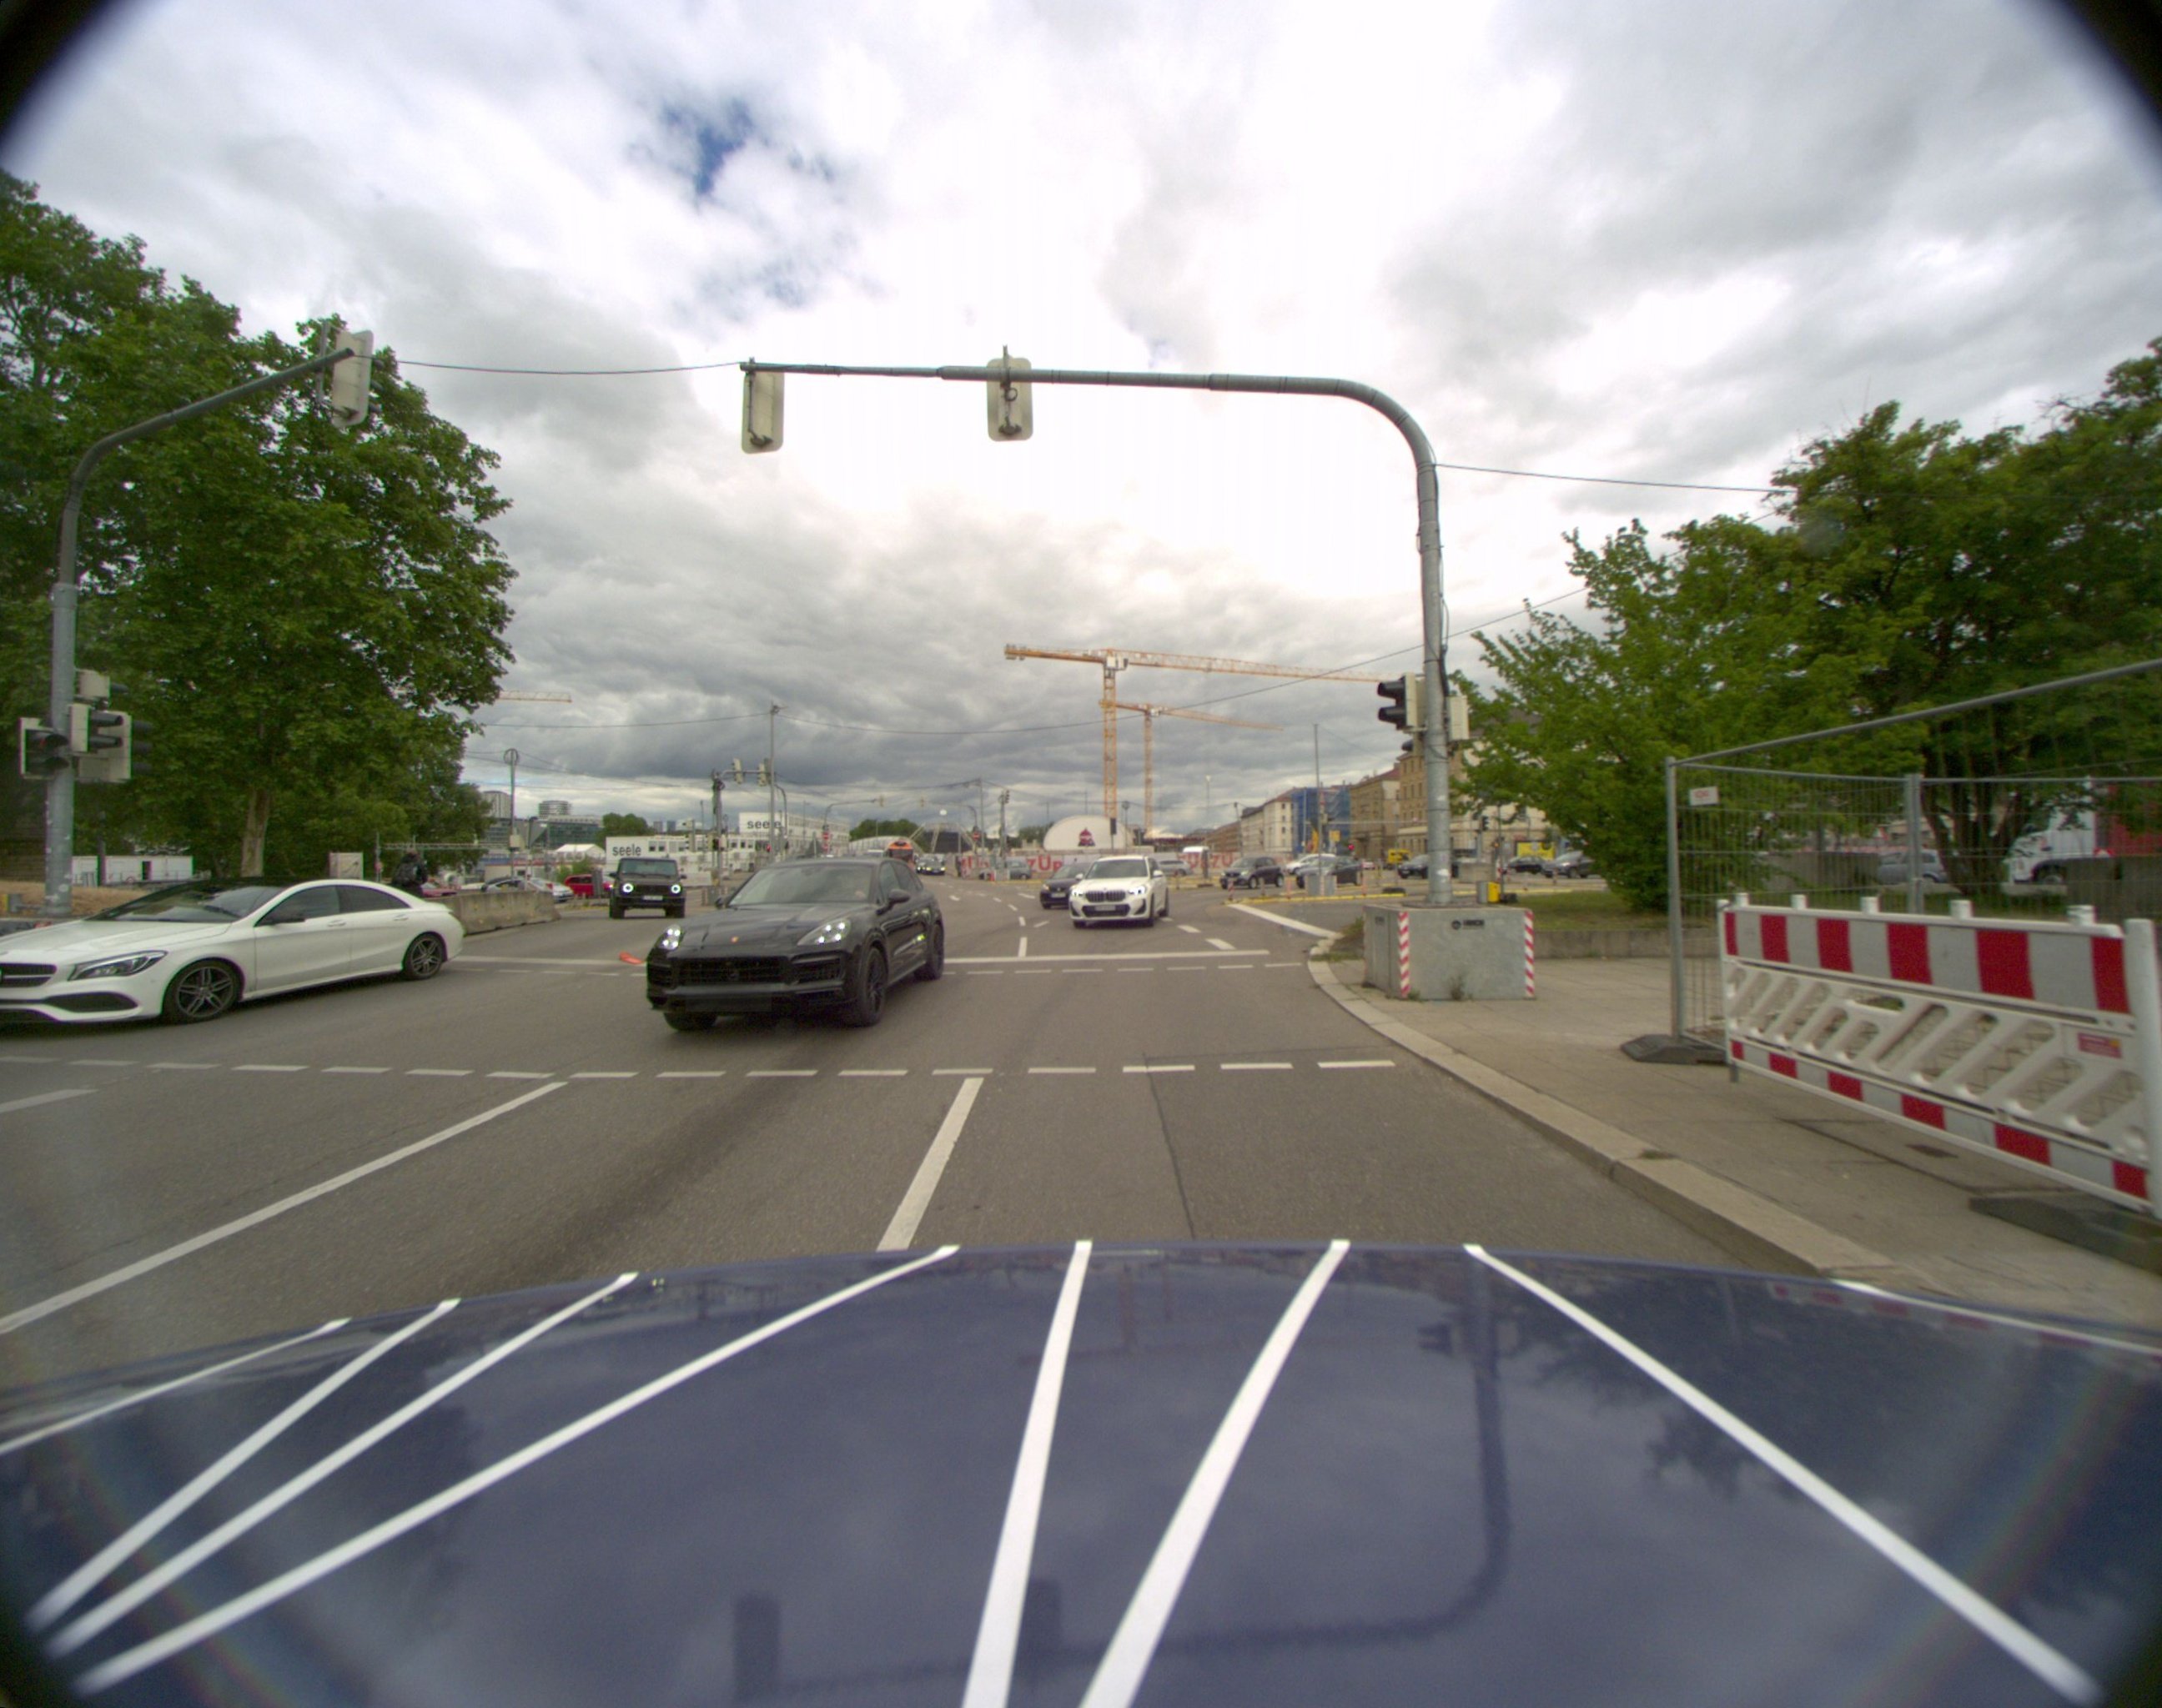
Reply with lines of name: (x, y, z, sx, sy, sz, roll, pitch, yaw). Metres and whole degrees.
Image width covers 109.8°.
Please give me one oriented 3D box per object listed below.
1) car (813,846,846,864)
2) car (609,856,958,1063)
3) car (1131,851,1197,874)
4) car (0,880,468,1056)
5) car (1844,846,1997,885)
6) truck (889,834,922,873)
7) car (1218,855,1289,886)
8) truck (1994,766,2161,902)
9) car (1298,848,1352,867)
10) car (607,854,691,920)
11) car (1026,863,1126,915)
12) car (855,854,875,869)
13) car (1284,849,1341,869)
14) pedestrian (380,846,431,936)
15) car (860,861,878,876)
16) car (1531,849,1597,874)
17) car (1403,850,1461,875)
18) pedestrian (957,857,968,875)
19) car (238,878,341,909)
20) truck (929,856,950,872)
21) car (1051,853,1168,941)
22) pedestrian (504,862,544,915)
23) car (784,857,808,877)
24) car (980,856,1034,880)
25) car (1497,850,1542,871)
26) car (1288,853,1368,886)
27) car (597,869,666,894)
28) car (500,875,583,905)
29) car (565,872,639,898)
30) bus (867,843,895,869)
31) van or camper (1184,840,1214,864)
car: (-28.610, 0.111, 86.566, 1.997, 2.001, 4.168, 0, -1, 8)
car: (-2.864, 0.941, 8.637, 1.955, 1.637, 4.610, -3, -2, 2)
car: (6.252, 0.611, 57.443, 4.680, 1.569, 1.911, -1, 1, -2)
car: (-9.637, 1.062, 8.727, 1.739, 1.426, 4.381, 1, -1, -2)
car: (34.053, 0.473, 31.016, 1.769, 1.495, 4.133, -1, -1, 3)
truck: (-17.893, -0.070, 77.215, 2.912, 3.653, 9.014, 0, 0, -15)
car: (8.333, 0.755, 36.615, 3.578, 1.411, 1.573, 0, 1, -42)
truck: (33.365, -0.594, 18.546, 2.924, 4.059, 16.618, 1, 0, 3)
car: (18.537, 0.266, 57.867, 3.698, 1.381, 1.729, 1, 0, 8)
car: (-13.577, 1.075, 24.097, 1.941, 1.925, 3.668, 0, -4, -24)
car: (-0.037, 1.071, 24.984, 1.730, 1.461, 4.426, 1, 0, 22)
car: (-21.074, 0.704, 74.164, 1.788, 1.427, 4.063, -1, 0, -14)
car: (18.507, 0.401, 60.773, 4.068, 1.564, 1.693, 0, -1, 1)
pedestrian: (-15.597, 0.836, 17.558, 0.623, 2.002, 0.849, -2, 1, -27)
car: (-22.348, 1.518, 80.170, 1.653, 1.427, 3.614, -1, 0, -14)
car: (30.302, 0.454, 47.614, 4.111, 1.412, 1.872, -2, 0, -32)
car: (21.658, 0.511, 46.877, 4.113, 1.412, 1.872, -2, 0, -44)
pedestrian: (-10.653, 1.054, 68.581, 0.851, 1.583, 0.622, -2, 1, -18)
car: (-45.476, 2.255, 43.715, 3.996, 1.559, 1.838, -2, 1, 2)
truck: (-14.068, 0.998, 75.434, 1.827, 1.531, 3.756, -1, 0, -14)
car: (0.754, 0.864, 16.943, 1.810, 1.596, 3.716, -3, 1, 14)
pedestrian: (-21.996, 1.340, 30.029, 1.206, 2.002, 1.191, -1, 0, -35)
car: (-29.465, 1.337, 78.689, 2.001, 2.001, 3.995, 0, -1, -16)
car: (-5.521, 1.083, 57.150, 3.953, 1.564, 1.692, -3, -2, -4)
car: (33.511, 0.478, 58.051, 4.113, 1.412, 1.872, -2, 0, -44)
car: (11.665, 0.708, 35.795, 4.113, 1.412, 1.849, -2, 0, -44)
car: (-29.133, 1.764, 49.293, 3.443, 1.427, 1.694, -2, 2, 5)
car: (-30.644, 2.058, 43.214, 3.443, 1.427, 1.665, -3, 2, 3)
car: (-29.187, 1.854, 46.349, 3.443, 1.427, 1.691, -1, 1, 5)
bus: (-25.641, 0.316, 97.648, 2.814, 3.150, 9.394, 0, -1, -10)
van or camper: (11.763, -0.231, 75.371, 1.995, 2.215, 4.005, 0, 2, 22)
